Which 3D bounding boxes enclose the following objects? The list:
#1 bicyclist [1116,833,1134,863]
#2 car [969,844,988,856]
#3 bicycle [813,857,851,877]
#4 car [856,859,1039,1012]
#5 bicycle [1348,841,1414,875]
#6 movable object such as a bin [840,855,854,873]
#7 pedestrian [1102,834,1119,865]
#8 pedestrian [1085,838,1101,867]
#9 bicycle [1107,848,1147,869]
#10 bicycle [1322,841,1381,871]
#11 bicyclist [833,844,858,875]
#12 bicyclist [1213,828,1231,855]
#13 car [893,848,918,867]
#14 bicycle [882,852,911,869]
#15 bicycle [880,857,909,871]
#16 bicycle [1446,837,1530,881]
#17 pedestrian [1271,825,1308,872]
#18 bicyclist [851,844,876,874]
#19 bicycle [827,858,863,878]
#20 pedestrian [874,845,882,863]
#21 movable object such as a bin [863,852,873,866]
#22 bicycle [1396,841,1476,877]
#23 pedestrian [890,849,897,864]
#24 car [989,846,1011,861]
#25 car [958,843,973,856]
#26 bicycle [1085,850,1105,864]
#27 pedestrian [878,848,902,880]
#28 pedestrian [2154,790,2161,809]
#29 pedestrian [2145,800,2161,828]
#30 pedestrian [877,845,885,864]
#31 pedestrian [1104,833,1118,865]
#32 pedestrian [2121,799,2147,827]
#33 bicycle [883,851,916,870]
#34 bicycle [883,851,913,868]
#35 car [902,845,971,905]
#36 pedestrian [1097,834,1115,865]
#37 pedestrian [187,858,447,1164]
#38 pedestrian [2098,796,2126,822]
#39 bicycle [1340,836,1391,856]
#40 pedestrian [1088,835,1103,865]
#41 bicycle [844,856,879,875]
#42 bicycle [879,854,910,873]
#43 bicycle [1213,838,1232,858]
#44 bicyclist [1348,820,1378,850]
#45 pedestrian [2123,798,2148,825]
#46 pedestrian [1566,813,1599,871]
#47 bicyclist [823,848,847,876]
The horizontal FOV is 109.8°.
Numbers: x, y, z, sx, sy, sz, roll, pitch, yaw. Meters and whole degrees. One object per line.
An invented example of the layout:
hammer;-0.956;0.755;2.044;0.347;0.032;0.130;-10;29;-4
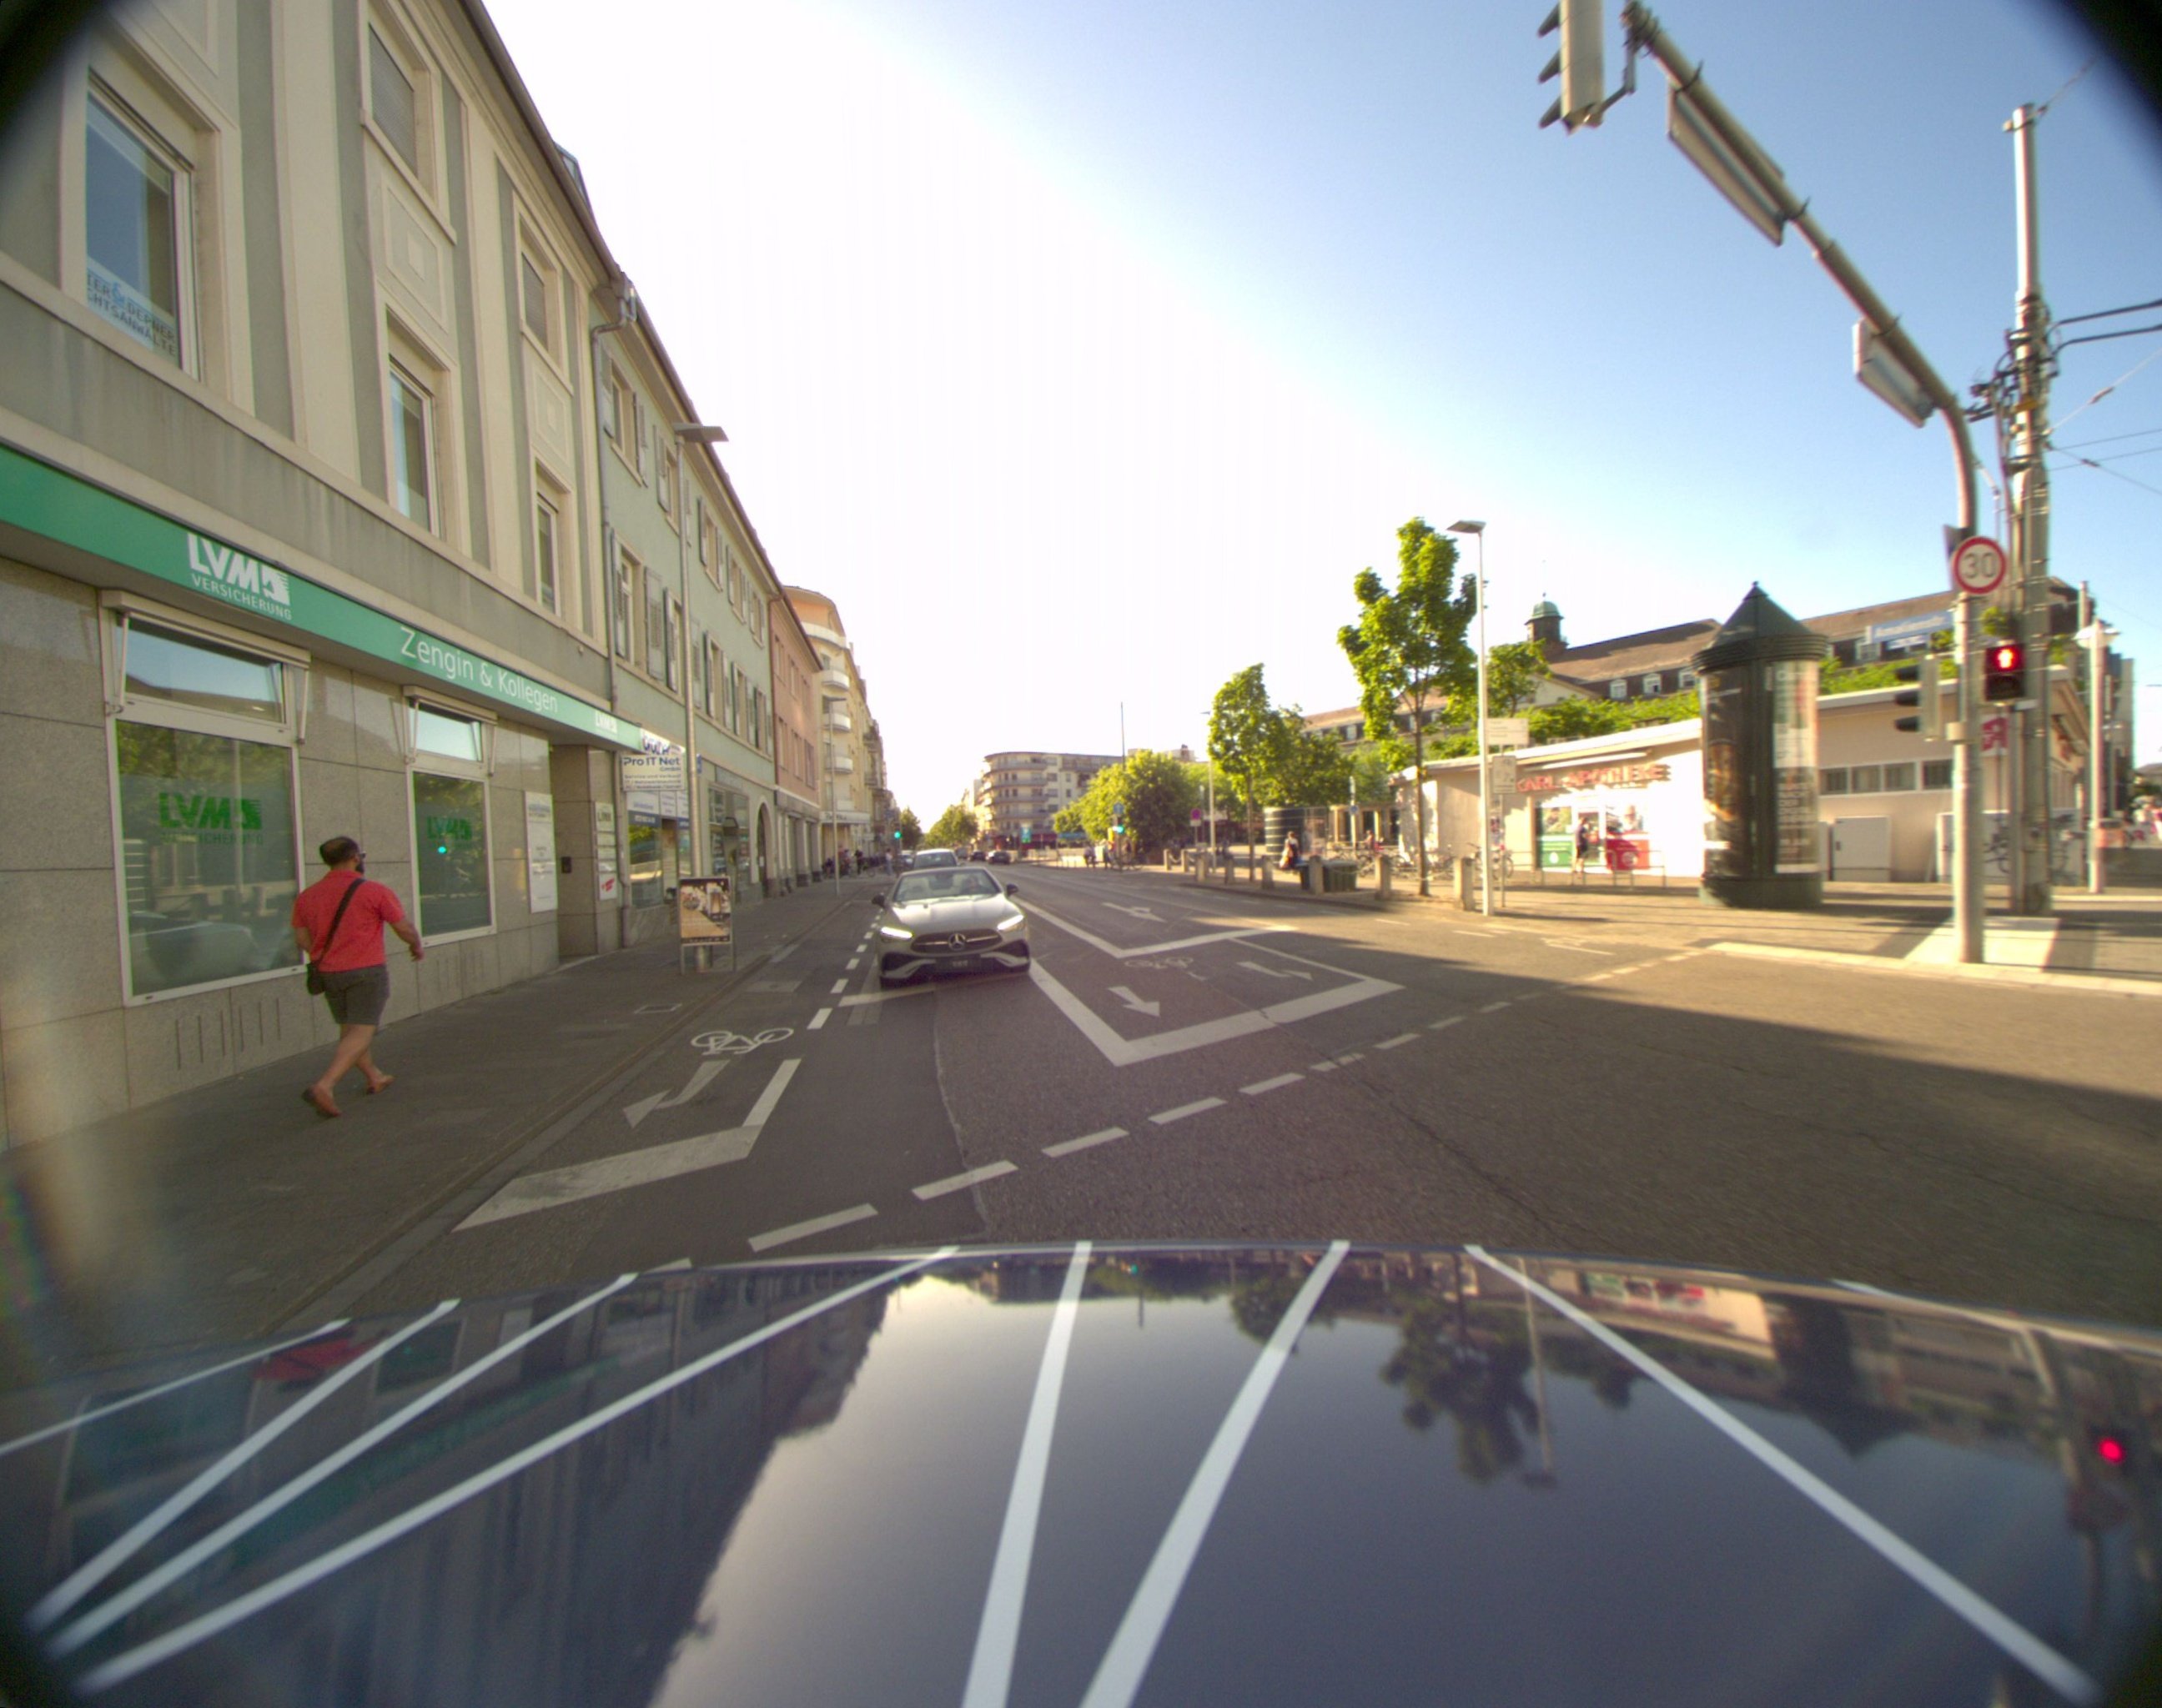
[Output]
bicyclist;2.550;-0.364;43.681;0.804;1.639;0.994;-3;2;10
car;-13.075;-0.518;97.027;1.755;1.415;4.248;-5;2;-15
bicycle;-14.679;0.757;44.790;1.917;1.090;0.734;-3;2;10
car;-1.857;0.919;10.689;1.911;1.454;4.359;-5;2;-10
bicycle;10.086;0.123;25.589;1.890;0.997;0.765;-3;2;-4
movable object such as a bin;-15.223;0.615;49.439;0.811;1.106;0.619;-4;2;-13
pedestrian;1.792;-0.267;46.165;0.782;1.801;0.590;-2;2;34
pedestrian;0.718;-0.094;46.163;0.686;1.664;0.698;-2;2;20
bicycle;2.634;0.235;43.661;2.173;1.066;0.764;-3;2;9
bicycle;10.036;0.066;28.201;1.890;0.997;0.765;-3;2;-4
bicyclist;-13.628;0.309;43.950;1.143;1.751;0.751;-4;2;-34
bicyclist;8.568;-0.750;46.260;0.942;1.599;1.170;-3;2;6
car;-14.552;0.255;63.166;1.694;1.390;3.996;-3;1;-10
bicycle;-13.777;0.458;56.782;2.051;1.174;0.682;-3;1;-11
bicycle;-12.700;0.685;51.702;1.849;0.826;0.740;-3;1;-17
bicycle;11.359;0.131;21.207;1.995;1.082;0.753;-4;2;-10
pedestrian;7.820;-0.226;28.564;0.902;1.688;1.085;-4;2;-9
bicyclist;-12.836;0.307;44.820;1.130;1.675;0.727;-2;2;16
bicycle;-13.652;0.801;43.929;1.824;0.988;0.563;-4;2;-33
pedestrian;-21.511;0.013;80.575;0.673;1.942;0.614;-3;2;-15
movable object such as a bin;-18.633;0.424;66.458;0.703;1.154;0.959;-3;2;-11
bicycle;10.930;0.134;23.459;2.017;0.997;0.888;-3;2;2
pedestrian;-23.978;0.306;97.141;0.695;1.896;0.905;-3;2;-15
car;-7.967;-0.049;74.764;1.656;1.389;4.038;2;0;-12
car;-17.815;-0.710;116.852;2.001;1.936;4.777;0;1;-13
bicycle;1.107;0.216;59.845;1.530;1.025;0.364;-3;2;3
pedestrian;-10.206;0.511;40.643;0.814;1.649;0.767;-3;2;25
pedestrian;77.789;-3.942;54.672;0.781;1.372;0.689;-4;2;-35
pedestrian;49.414;-1.841;34.885;0.508;1.266;0.721;-1;2;43
pedestrian;-21.054;0.032;79.912;0.695;1.896;0.905;-3;2;-15
pedestrian;1.872;-0.312;47.164;0.609;1.907;0.783;-3;2;-10
pedestrian;48.640;-1.888;35.093;0.781;1.266;0.621;-4;2;-41
bicycle;-12.742;0.444;53.275;2.144;1.237;0.710;-3;1;-16
bicycle;-13.418;0.421;55.765;2.028;1.143;0.715;-2;1;-11
car;-4.797;0.618;25.180;2.000;1.718;3.995;-3;1;-11
pedestrian;1.490;-0.270;45.323;0.590;1.801;0.782;-4;2;-38
pedestrian;-4.720;0.891;4.785;0.692;1.693;0.911;-2;1;-11
pedestrian;61.205;-2.659;45.100;0.781;1.456;0.945;-4;2;-35
bicycle;15.911;-0.452;42.538;2.570;1.001;0.785;-2;2;11
pedestrian;0.910;-0.244;46.908;0.650;1.847;0.625;-2;2;20
bicycle;-13.002;0.695;44.956;1.912;1.014;0.561;-3;2;16
bicycle;-12.769;0.619;52.071;1.948;1.205;0.932;-3;1;-17
bicycle;8.610;-0.385;46.372;0.942;1.126;2.479;-3;1;6
bicyclist;15.781;-1.061;42.517;1.370;1.588;0.983;-3;2;12
pedestrian;55.604;-2.226;40.075;0.781;1.372;0.689;-4;2;-42
pedestrian;15.166;-0.359;22.992;0.521;1.699;0.610;-3;2;-12
bicyclist;-14.468;0.494;44.770;1.029;1.574;0.726;-3;2;10
